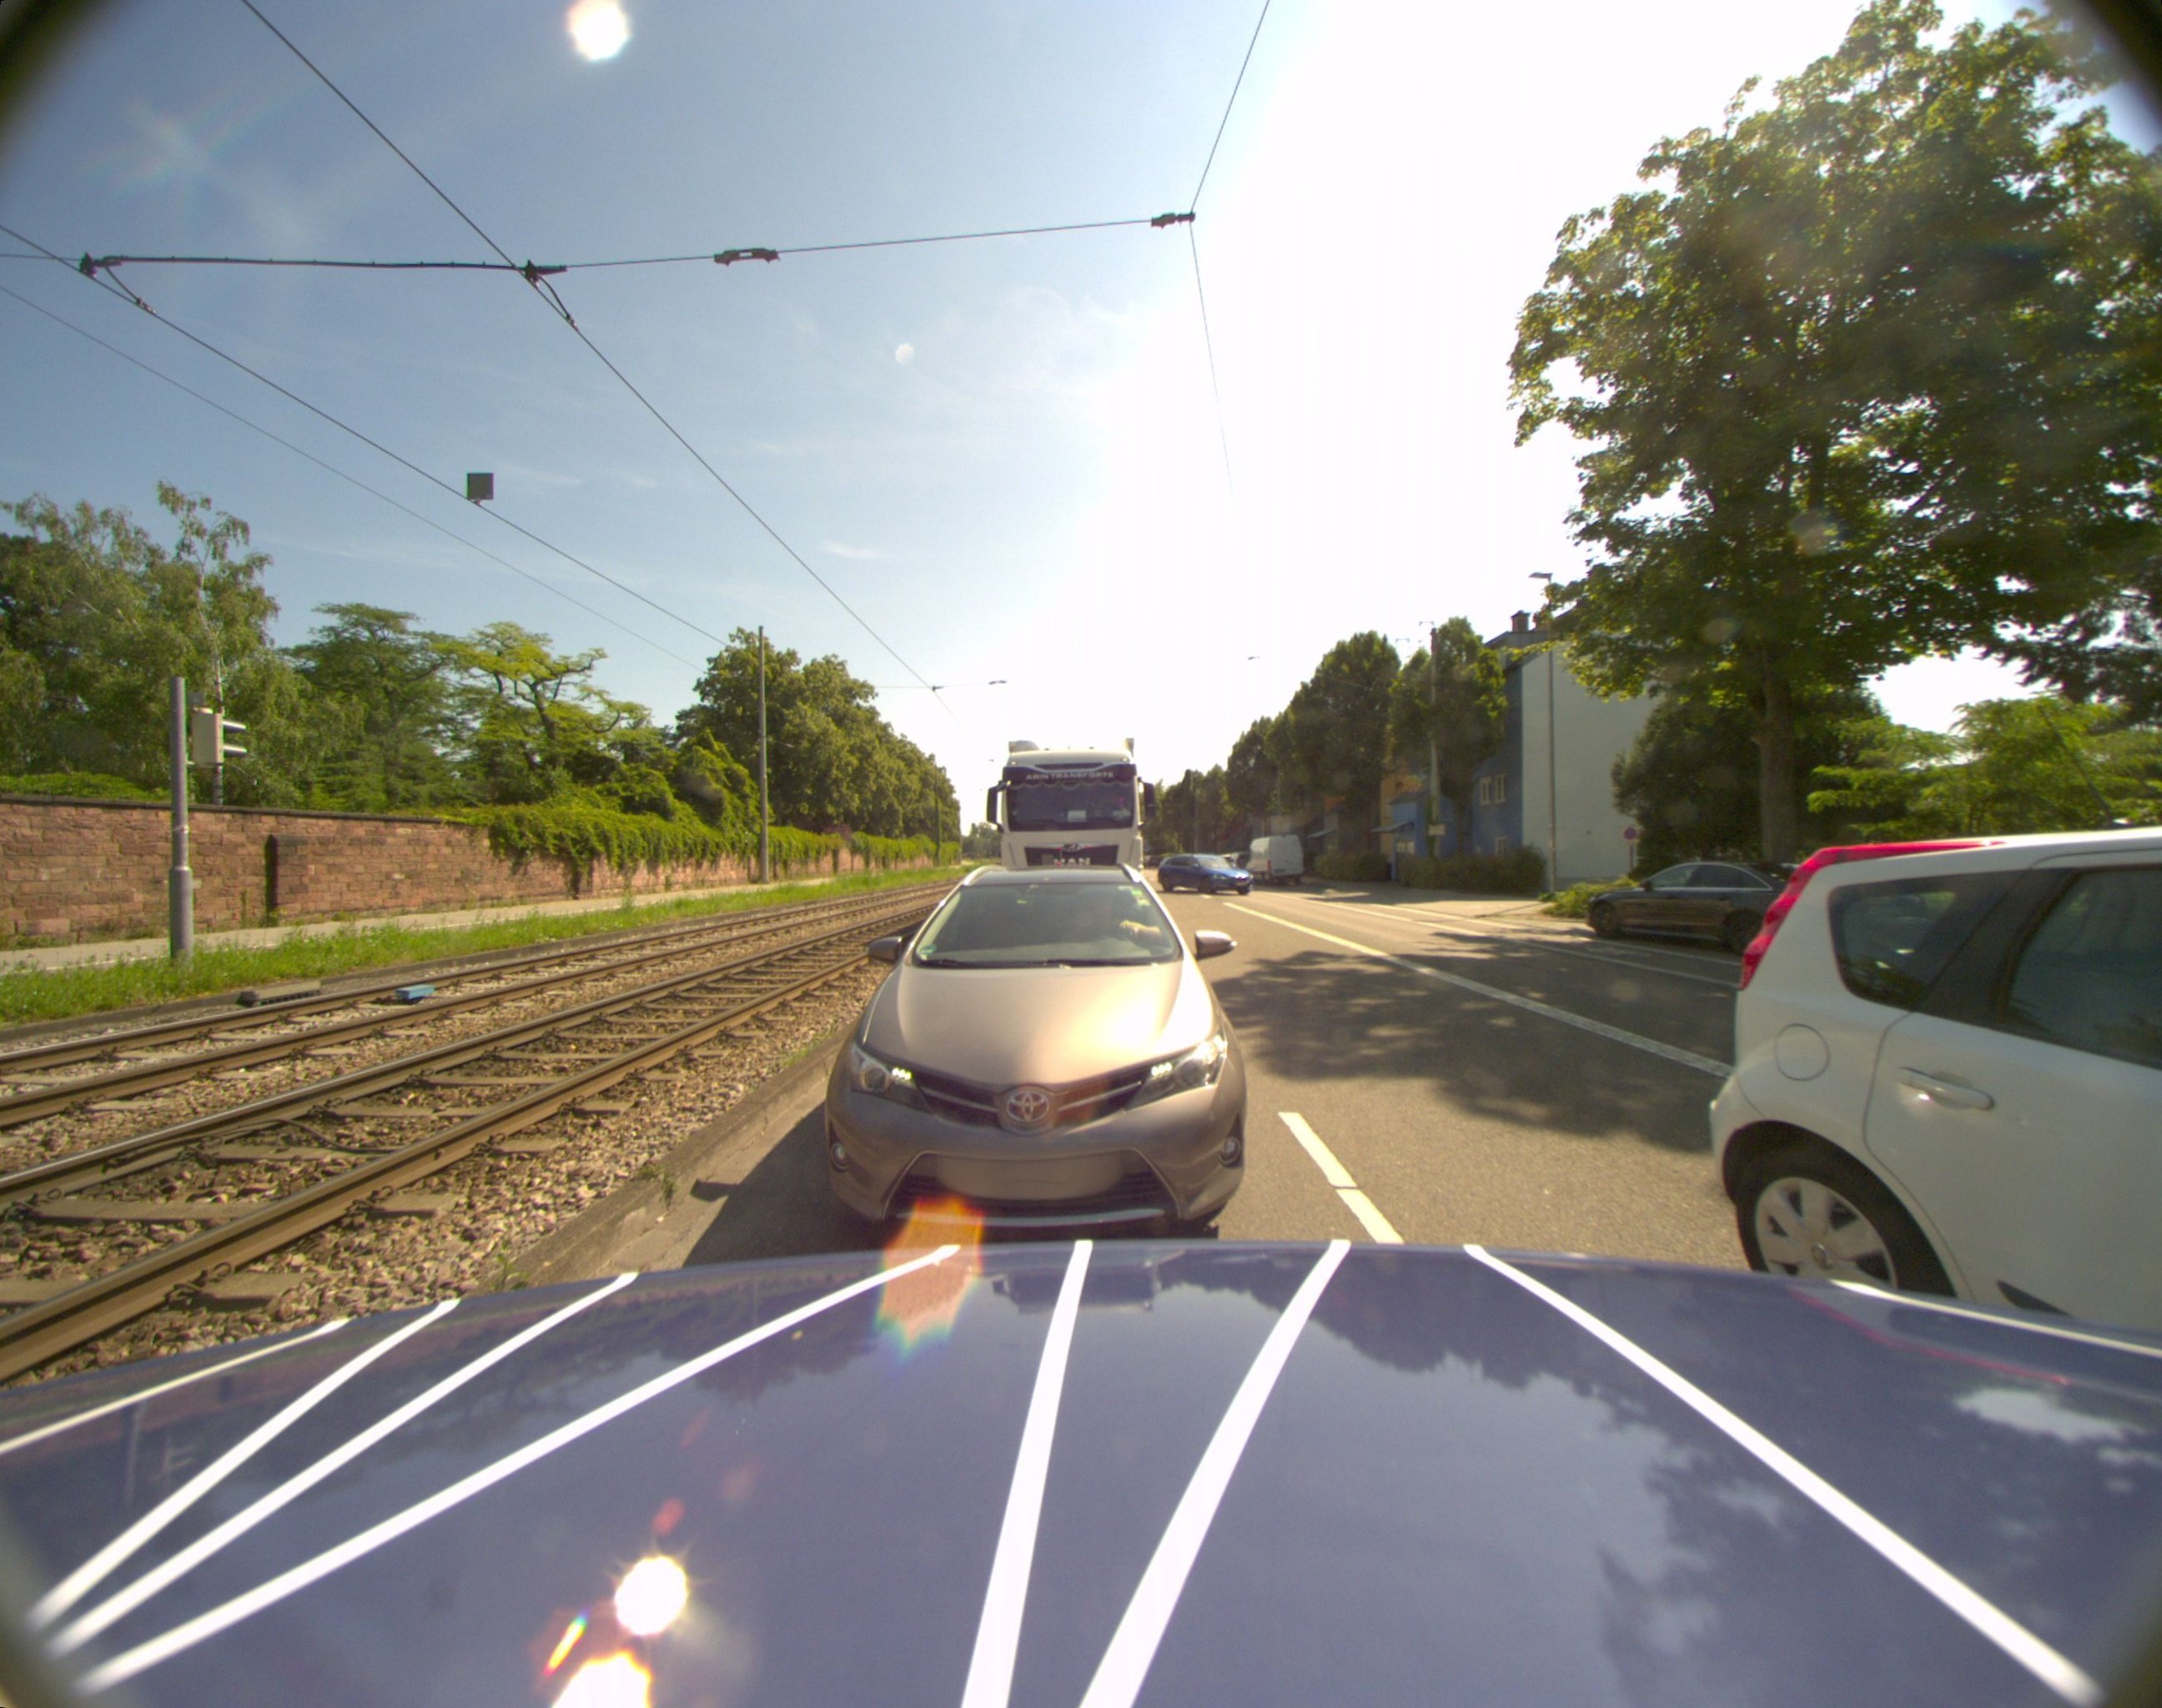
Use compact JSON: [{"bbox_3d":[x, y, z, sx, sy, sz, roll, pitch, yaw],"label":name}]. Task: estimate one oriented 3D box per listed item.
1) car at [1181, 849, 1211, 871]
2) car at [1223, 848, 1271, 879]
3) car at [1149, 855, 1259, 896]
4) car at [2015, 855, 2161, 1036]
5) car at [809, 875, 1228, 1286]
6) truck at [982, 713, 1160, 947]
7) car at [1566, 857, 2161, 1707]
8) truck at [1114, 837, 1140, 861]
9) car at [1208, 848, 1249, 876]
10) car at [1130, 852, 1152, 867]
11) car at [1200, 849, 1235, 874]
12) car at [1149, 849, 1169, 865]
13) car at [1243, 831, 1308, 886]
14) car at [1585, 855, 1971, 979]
[{"bbox_3d":[11.031,0.558,73.363,1.998,1.795,4.769,-6,0,0],"label":"car"},{"bbox_3d":[11.146,0.634,51.357,1.998,1.795,4.769,-6,0,0],"label":"car"},{"bbox_3d":[4.615,0.748,29.344,1.893,1.422,5.066,0,0,-21],"label":"car"},{"bbox_3d":[10.603,0.821,5.555,1.868,1.562,4.621,-2,0,0],"label":"car"},{"bbox_3d":[-0.210,0.909,4.859,1.573,1.422,4.000,0,0,1],"label":"car"},{"bbox_3d":[-0.068,-0.414,20.017,2.935,3.856,14.913,0,0,1],"label":"truck"},{"bbox_3d":[2.821,0.808,0.864,1.666,1.538,4.546,-1,0,1],"label":"car"},{"bbox_3d":[6.998,-0.674,116.092,2.704,3.263,6.724,-6,0,-5],"label":"truck"},{"bbox_3d":[11.089,0.577,57.364,1.998,1.795,4.769,-6,0,0],"label":"car"},{"bbox_3d":[8.291,0.797,105.554,1.999,1.795,5.111,-6,0,-4],"label":"car"},{"bbox_3d":[11.236,0.583,62.848,1.998,1.795,4.256,-6,0,0],"label":"car"},{"bbox_3d":[9.901,0.354,96.807,1.998,1.795,4.769,-6,0,0],"label":"car"},{"bbox_3d":[10.917,0.249,43.136,1.998,2.678,6.214,-6,0,2],"label":"car"},{"bbox_3d":[10.565,0.822,12.145,1.868,1.562,4.621,-1,0,-2],"label":"car"}]
